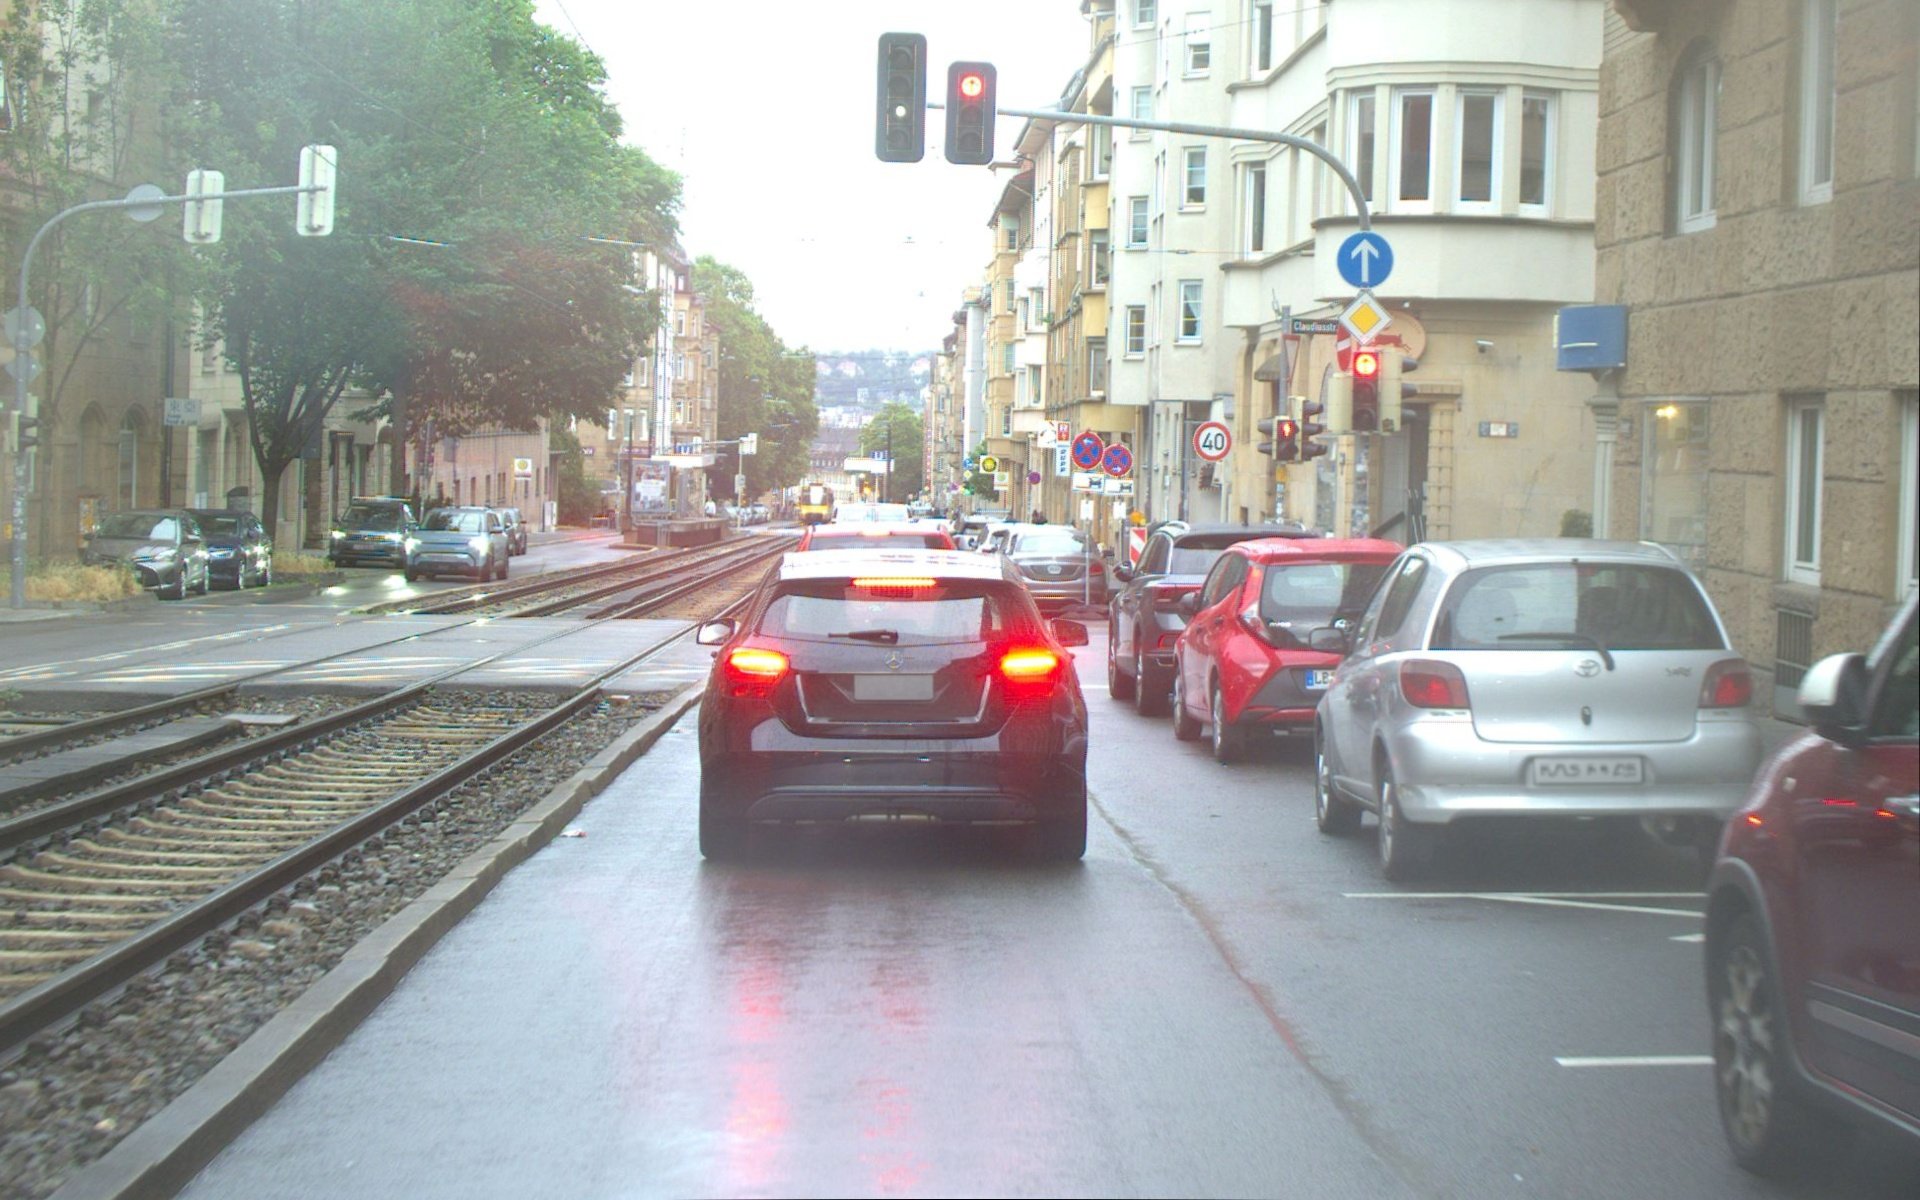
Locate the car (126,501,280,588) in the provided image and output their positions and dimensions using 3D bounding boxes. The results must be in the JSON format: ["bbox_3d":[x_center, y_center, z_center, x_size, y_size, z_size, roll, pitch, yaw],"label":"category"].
[{"bbox_3d":[-14.019,-1.039,63.892,1.993,1.512,4.000,2,1,-1],"label":"car"}]

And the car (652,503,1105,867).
[{"bbox_3d":[-0.426,0.360,16.799,1.946,1.559,3.643,1,0,-2],"label":"car"}]

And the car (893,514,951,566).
[{"bbox_3d":[-1.314,-2.054,118.060,1.909,1.700,4.000,2,1,-1],"label":"car"}]

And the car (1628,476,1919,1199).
[{"bbox_3d":[2.690,0.602,6.722,1.710,1.623,4.001,2,1,-3],"label":"car"}]

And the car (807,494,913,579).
[{"bbox_3d":[-2.033,-1.317,70.842,1.921,1.649,4.000,2,1,1],"label":"car"}]

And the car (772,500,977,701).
[{"bbox_3d":[-0.691,-0.037,28.712,1.535,1.505,4.000,2,1,-1],"label":"car"}]

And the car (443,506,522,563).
[{"bbox_3d":[-15.280,-2.097,110.138,1.932,1.722,4.186,2,1,-1],"label":"car"}]

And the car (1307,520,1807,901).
[{"bbox_3d":[2.665,0.427,16.080,1.638,1.537,3.466,2,1,-1],"label":"car"}]

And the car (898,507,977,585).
[{"bbox_3d":[-0.560,-1.293,83.734,1.852,1.791,3.812,1,0,-1],"label":"car"}]

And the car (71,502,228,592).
[{"bbox_3d":[-13.757,-0.894,58.573,1.771,1.459,4.000,1,1,-1],"label":"car"}]

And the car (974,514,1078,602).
[{"bbox_3d":[1.372,-0.864,72.561,1.768,1.770,4.001,1,0,-5],"label":"car"}]

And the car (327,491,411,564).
[{"bbox_3d":[-14.523,-1.779,84.662,1.789,1.685,4.001,2,1,-7],"label":"car"}]

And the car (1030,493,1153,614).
[{"bbox_3d":[2.266,-0.787,60.128,1.898,2.021,4.176,1,0,-1],"label":"car"}]

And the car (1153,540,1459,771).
[{"bbox_3d":[2.292,0.325,23.472,1.602,1.414,3.149,2,1,-3],"label":"car"}]

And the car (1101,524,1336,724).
[{"bbox_3d":[2.102,0.151,28.816,1.549,1.503,4.000,2,1,-1],"label":"car"}]

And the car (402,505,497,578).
[{"bbox_3d":[-11.123,-1.288,75.155,1.795,1.543,4.001,-1,1,-5],"label":"car"}]
